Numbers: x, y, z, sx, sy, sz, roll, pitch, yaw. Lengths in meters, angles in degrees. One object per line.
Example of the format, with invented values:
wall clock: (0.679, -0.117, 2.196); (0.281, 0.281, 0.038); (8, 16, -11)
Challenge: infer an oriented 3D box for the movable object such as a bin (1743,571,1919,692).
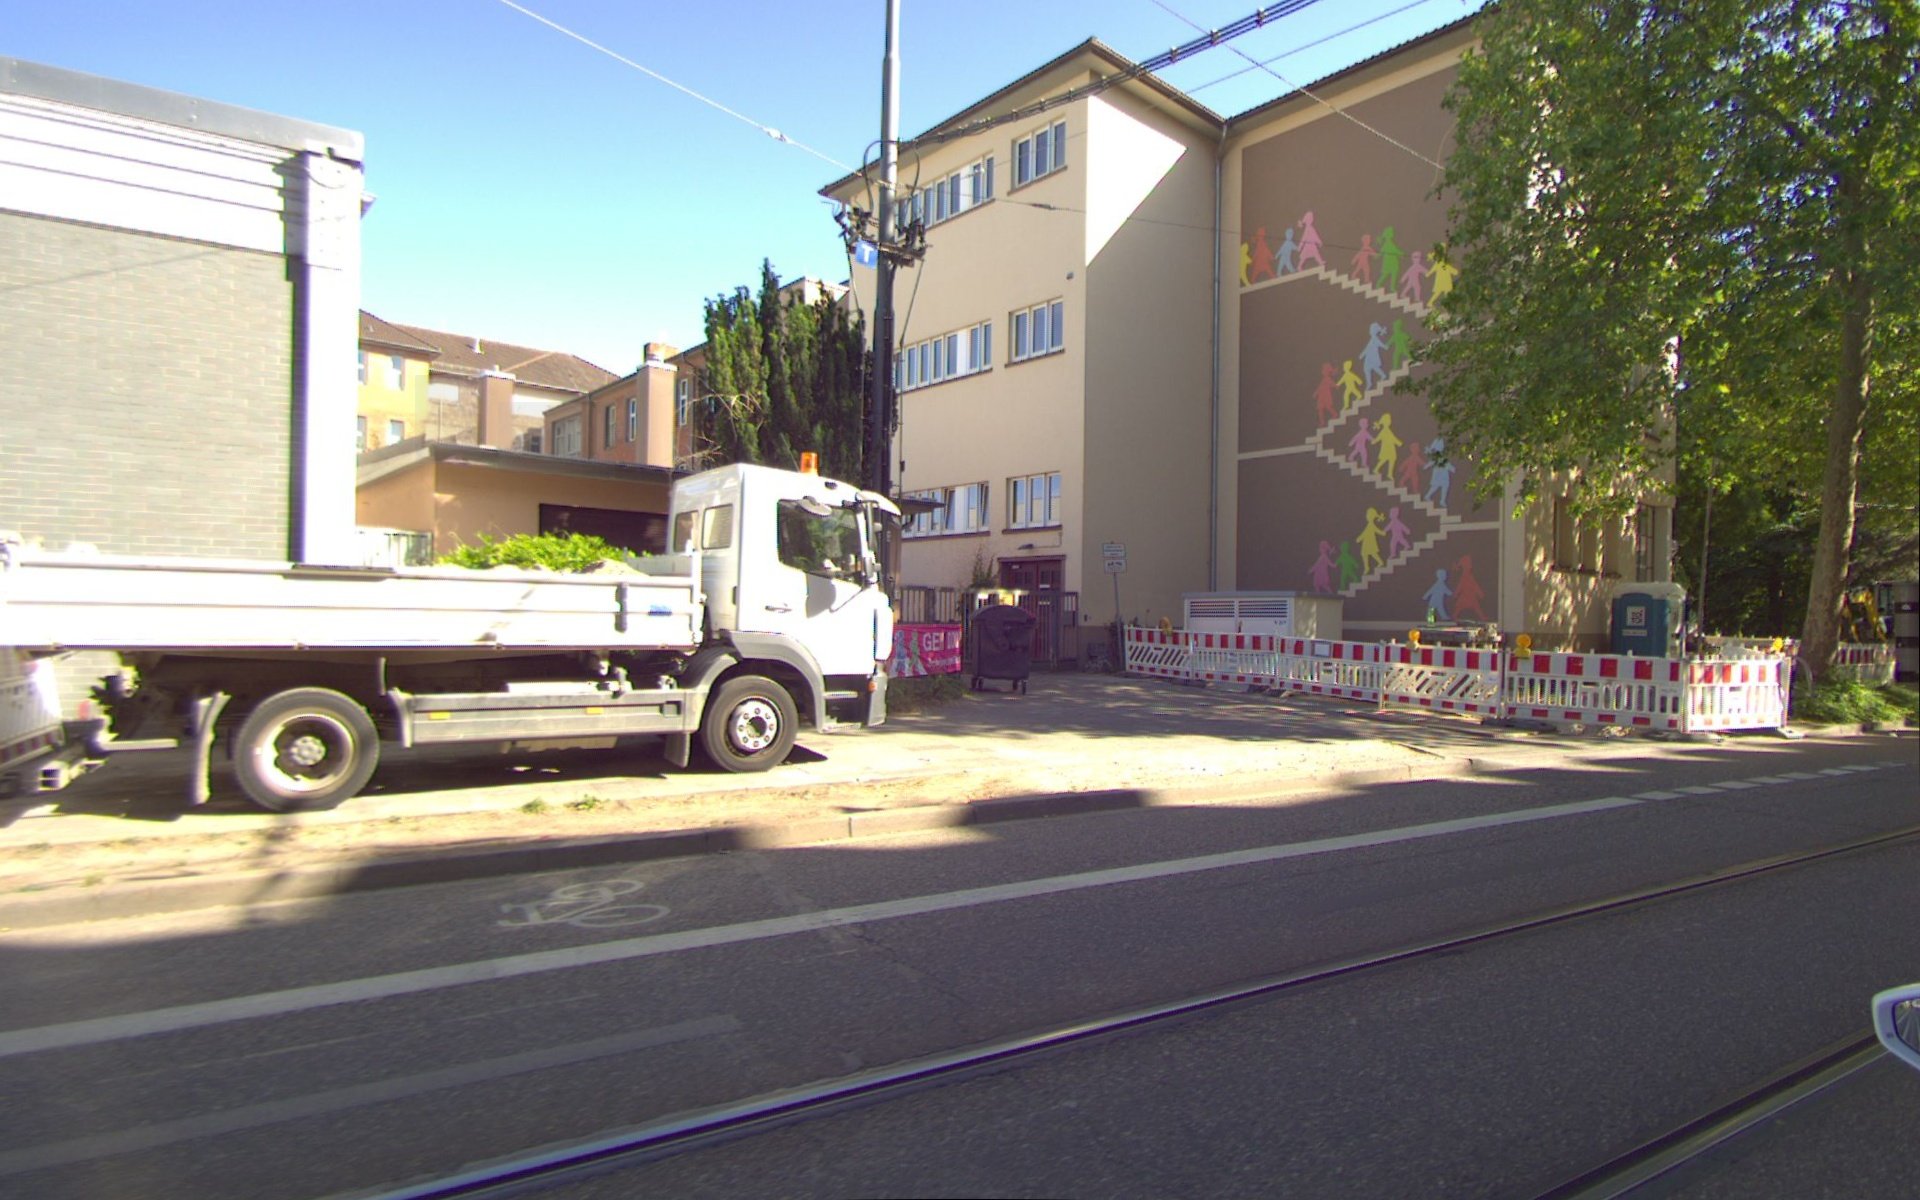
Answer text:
movable object such as a bin: (22.112, 0.733, 24.832); (5.924, 2.681, 2.481); (1, 1, -33)

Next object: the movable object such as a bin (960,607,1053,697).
movable object such as a bin: (0.774, 0.857, 16.965); (1.265, 1.424, 1.136); (2, 0, -14)

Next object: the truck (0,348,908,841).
truck: (-3.817, 0.031, 8.554); (6.310, 2.868, 2.522); (2, 0, -34)
